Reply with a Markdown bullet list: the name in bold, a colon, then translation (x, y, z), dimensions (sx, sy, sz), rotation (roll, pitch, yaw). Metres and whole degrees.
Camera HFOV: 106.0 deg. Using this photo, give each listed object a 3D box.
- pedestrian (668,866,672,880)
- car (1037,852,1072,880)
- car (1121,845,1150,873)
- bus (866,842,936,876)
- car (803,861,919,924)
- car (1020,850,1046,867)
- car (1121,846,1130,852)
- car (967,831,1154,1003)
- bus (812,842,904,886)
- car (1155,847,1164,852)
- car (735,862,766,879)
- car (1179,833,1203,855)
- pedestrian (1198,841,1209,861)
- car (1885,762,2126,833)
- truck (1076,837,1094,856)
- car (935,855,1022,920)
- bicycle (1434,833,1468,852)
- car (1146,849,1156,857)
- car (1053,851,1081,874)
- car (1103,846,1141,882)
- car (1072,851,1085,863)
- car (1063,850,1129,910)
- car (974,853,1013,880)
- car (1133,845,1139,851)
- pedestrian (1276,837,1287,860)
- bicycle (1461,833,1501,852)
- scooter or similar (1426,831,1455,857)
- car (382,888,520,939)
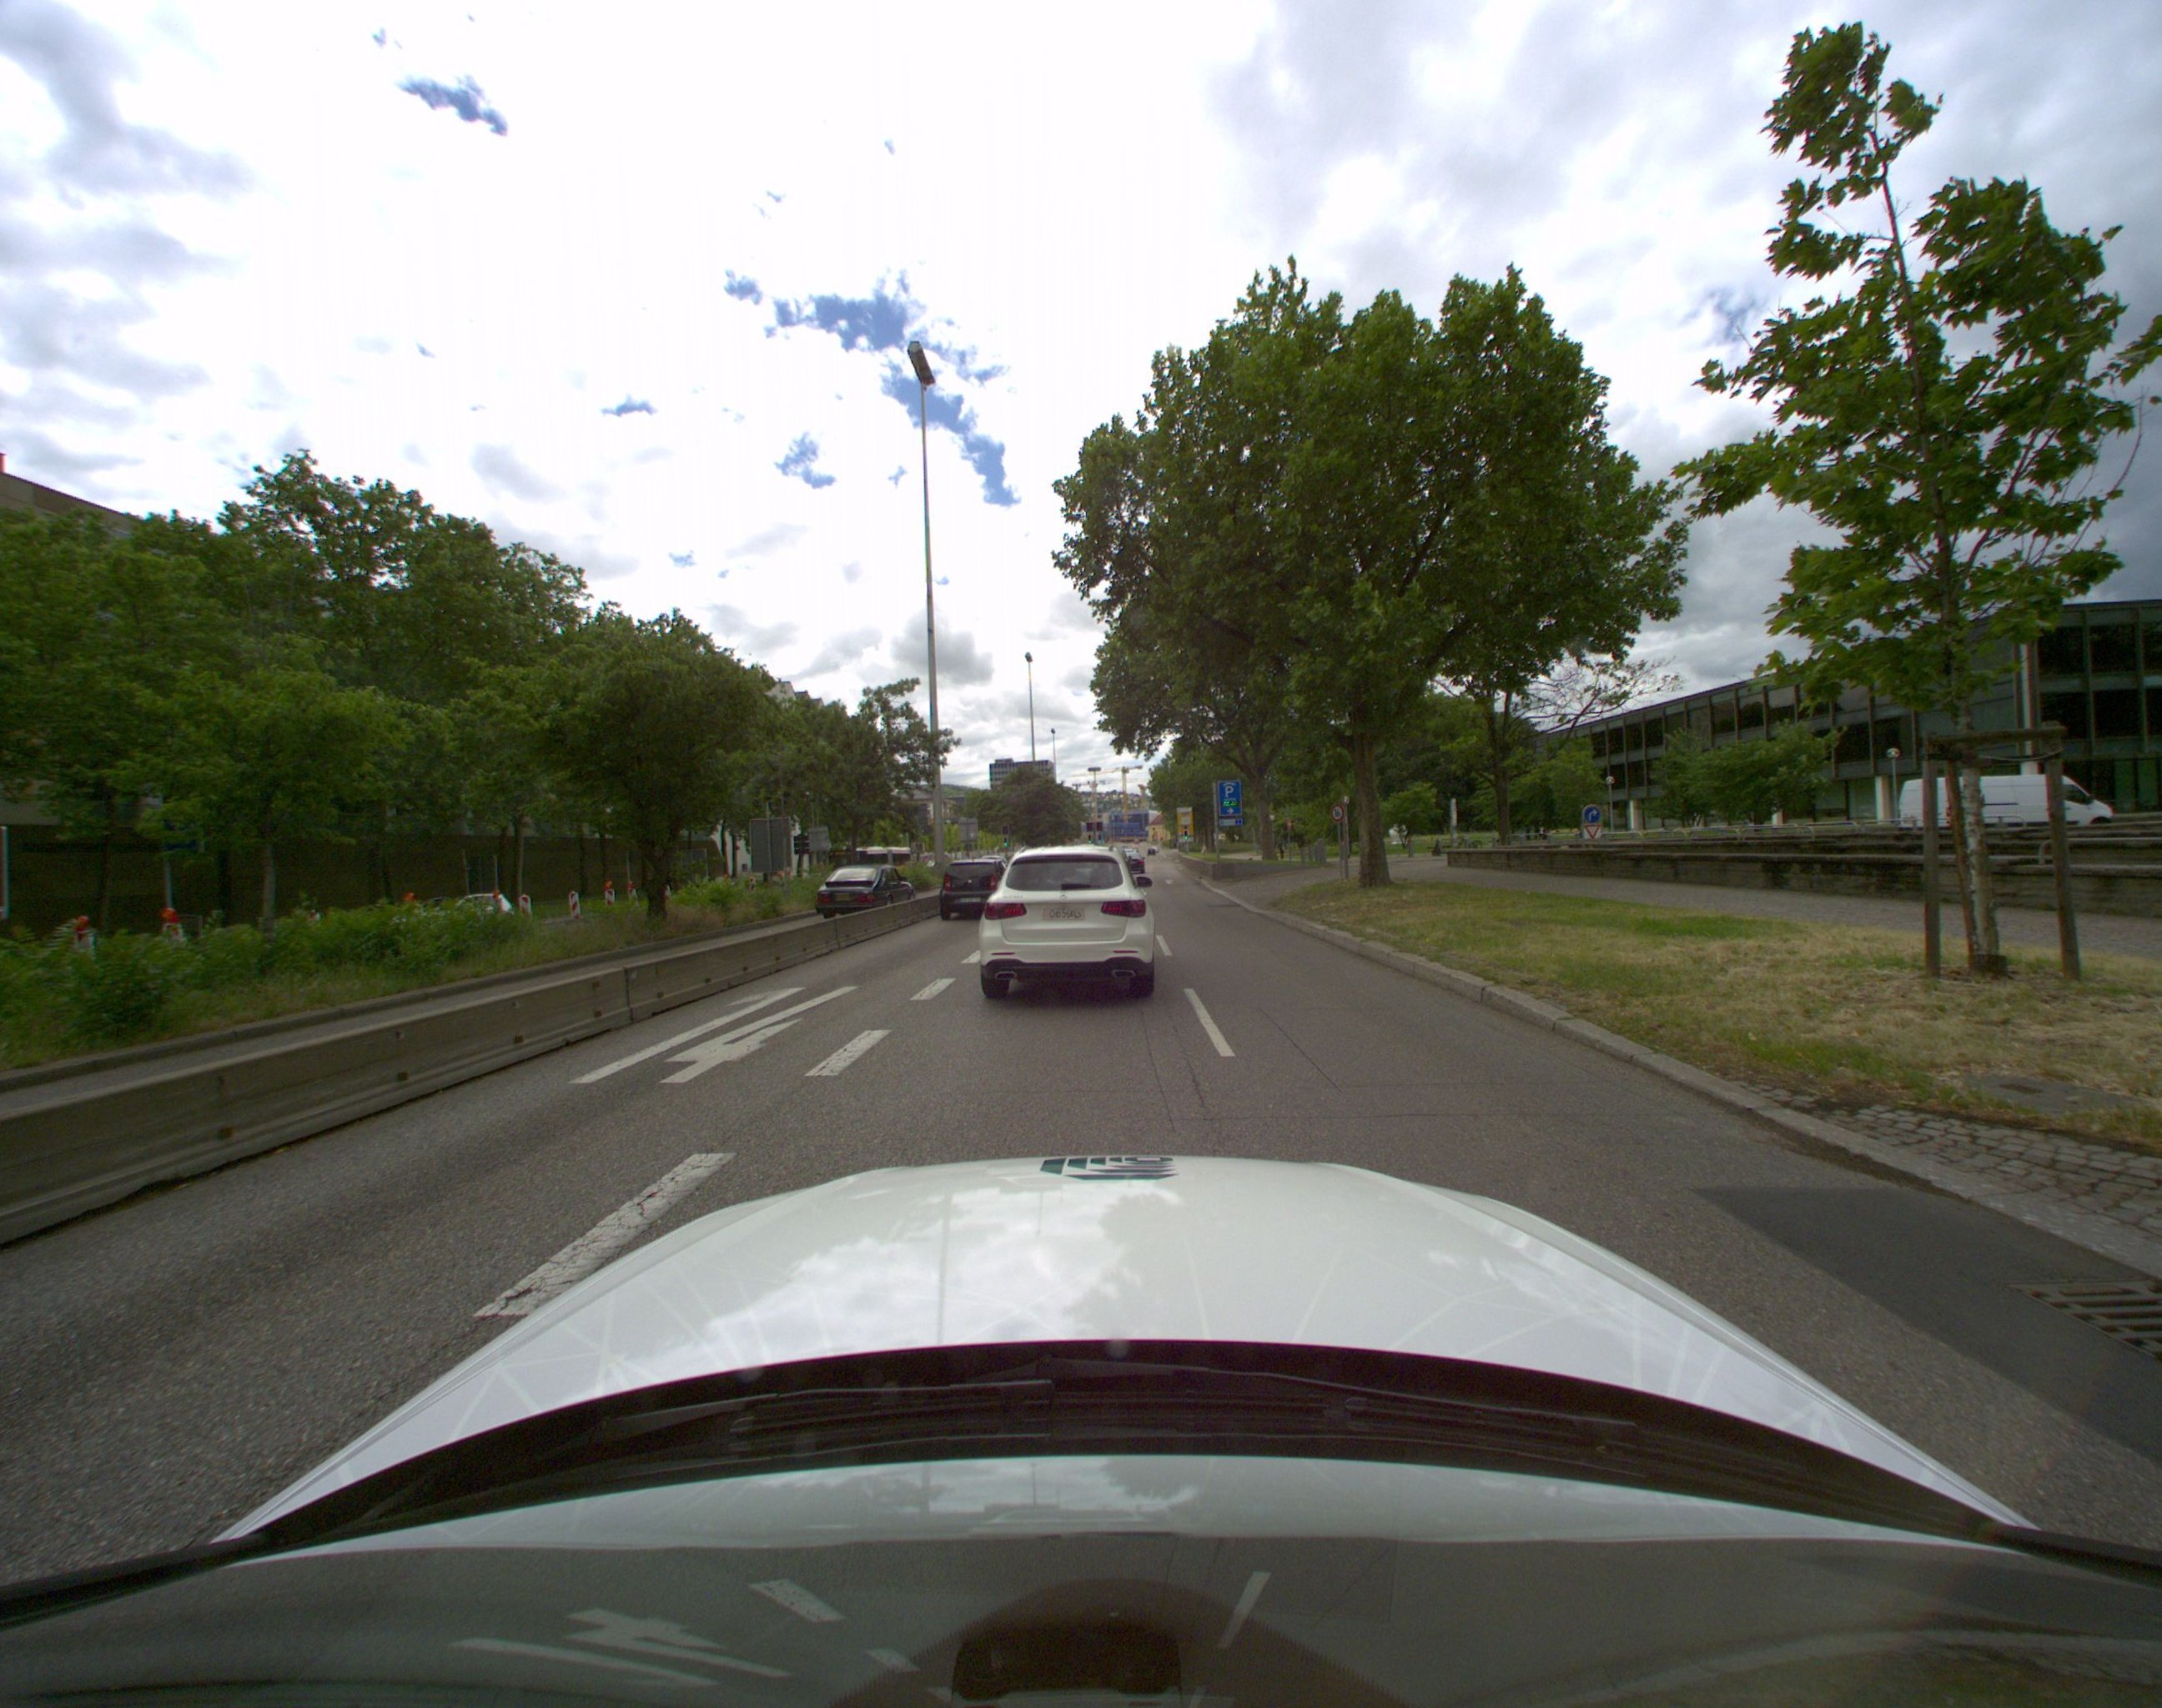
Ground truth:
- **pedestrian**: translation (-32.111, 1.456, 63.582), dimensions (0.214, 1.078, 0.258), rotation (0, -1, -16)
- **car**: translation (-1.458, 0.659, 46.061), dimensions (1.791, 1.437, 4.021), rotation (-2, 0, 1)
- **car**: translation (3.694, 0.337, 55.644), dimensions (1.818, 1.752, 4.002), rotation (-2, 0, 2)
- **bus**: translation (-19.404, 0.476, 89.069), dimensions (3.652, 3.205, 14.285), rotation (-2, 0, 3)
- **car**: translation (-5.671, 0.943, 21.601), dimensions (1.672, 1.367, 4.545), rotation (-2, 0, 2)
- **car**: translation (-4.495, 0.422, 76.367), dimensions (1.767, 1.420, 4.007), rotation (-2, 0, 6)
- **car**: translation (10.575, -1.211, 192.846), dimensions (1.939, 1.319, 4.020), rotation (-2, 0, 3)
- **car**: translation (-0.044, 0.614, 10.161), dimensions (1.780, 1.625, 4.442), rotation (-2, 0, 4)
- **bus**: translation (-20.087, 0.730, 74.802), dimensions (3.652, 3.204, 14.287), rotation (-3, 2, 3)
- **car**: translation (18.840, -1.100, 196.526), dimensions (1.939, 1.319, 4.020), rotation (-2, 0, 3)
- **car**: translation (-41.255, 2.046, 101.721), dimensions (1.986, 1.914, 4.002), rotation (-2, 0, 2)
- **car**: translation (10.778, -0.975, 79.728), dimensions (1.985, 2.013, 4.003), rotation (-2, 0, 3)
- **pedestrian**: translation (12.462, -0.293, 82.879), dimensions (0.752, 2.013, 0.703), rotation (-3, 0, 38)
- **car**: translation (34.850, -2.093, 30.879), dimensions (6.081, 2.260, 2.404), rotation (-2, 0, 3)
- **truck**: translation (0.677, -1.240, 129.289), dimensions (2.611, 2.861, 7.080), rotation (-1, 0, 1)
- **car**: translation (-2.563, 0.794, 21.213), dimensions (1.602, 1.473, 3.624), rotation (-2, 0, 2)
- **bicycle**: translation (21.443, -0.634, 47.272), dimensions (0.950, 1.063, 2.337), rotation (0, 0, 2)
- **car**: translation (13.971, -0.167, 163.022), dimensions (1.939, 1.428, 4.020), rotation (-2, 0, 3)
- **car**: translation (-1.034, 0.628, 62.456), dimensions (1.845, 1.628, 4.908), rotation (-2, 0, 1)
- **car**: translation (1.974, 0.477, 40.411), dimensions (1.654, 1.639, 3.546), rotation (-2, 0, -1)
- **car**: translation (-0.333, 0.399, 115.461), dimensions (1.652, 1.513, 3.550), rotation (-2, 0, 3)
- **car**: translation (0.455, 0.725, 24.596), dimensions (1.789, 1.608, 3.756), rotation (-2, 0, 1)
- **car**: translation (-4.998, 0.703, 47.148), dimensions (1.655, 1.436, 3.962), rotation (-2, 0, 2)
- **car**: translation (16.189, -1.797, 239.562), dimensions (1.751, 1.669, 4.171), rotation (-2, 0, 2)
- **pedestrian**: translation (16.016, -0.442, 65.136), dimensions (0.754, 1.724, 0.701), rotation (-2, 0, 10)
- **bicycle**: translation (22.493, -0.641, 45.814), dimensions (0.950, 0.975, 2.788), rotation (0, 0, 2)
- **scooter or similar**: translation (18.106, -0.481, 41.025), dimensions (0.633, 1.245, 2.228), rotation (0, 0, 5)
- **car**: translation (-21.525, 1.981, 28.037), dimensions (1.654, 1.383, 3.805), rotation (-2, 0, 2)
